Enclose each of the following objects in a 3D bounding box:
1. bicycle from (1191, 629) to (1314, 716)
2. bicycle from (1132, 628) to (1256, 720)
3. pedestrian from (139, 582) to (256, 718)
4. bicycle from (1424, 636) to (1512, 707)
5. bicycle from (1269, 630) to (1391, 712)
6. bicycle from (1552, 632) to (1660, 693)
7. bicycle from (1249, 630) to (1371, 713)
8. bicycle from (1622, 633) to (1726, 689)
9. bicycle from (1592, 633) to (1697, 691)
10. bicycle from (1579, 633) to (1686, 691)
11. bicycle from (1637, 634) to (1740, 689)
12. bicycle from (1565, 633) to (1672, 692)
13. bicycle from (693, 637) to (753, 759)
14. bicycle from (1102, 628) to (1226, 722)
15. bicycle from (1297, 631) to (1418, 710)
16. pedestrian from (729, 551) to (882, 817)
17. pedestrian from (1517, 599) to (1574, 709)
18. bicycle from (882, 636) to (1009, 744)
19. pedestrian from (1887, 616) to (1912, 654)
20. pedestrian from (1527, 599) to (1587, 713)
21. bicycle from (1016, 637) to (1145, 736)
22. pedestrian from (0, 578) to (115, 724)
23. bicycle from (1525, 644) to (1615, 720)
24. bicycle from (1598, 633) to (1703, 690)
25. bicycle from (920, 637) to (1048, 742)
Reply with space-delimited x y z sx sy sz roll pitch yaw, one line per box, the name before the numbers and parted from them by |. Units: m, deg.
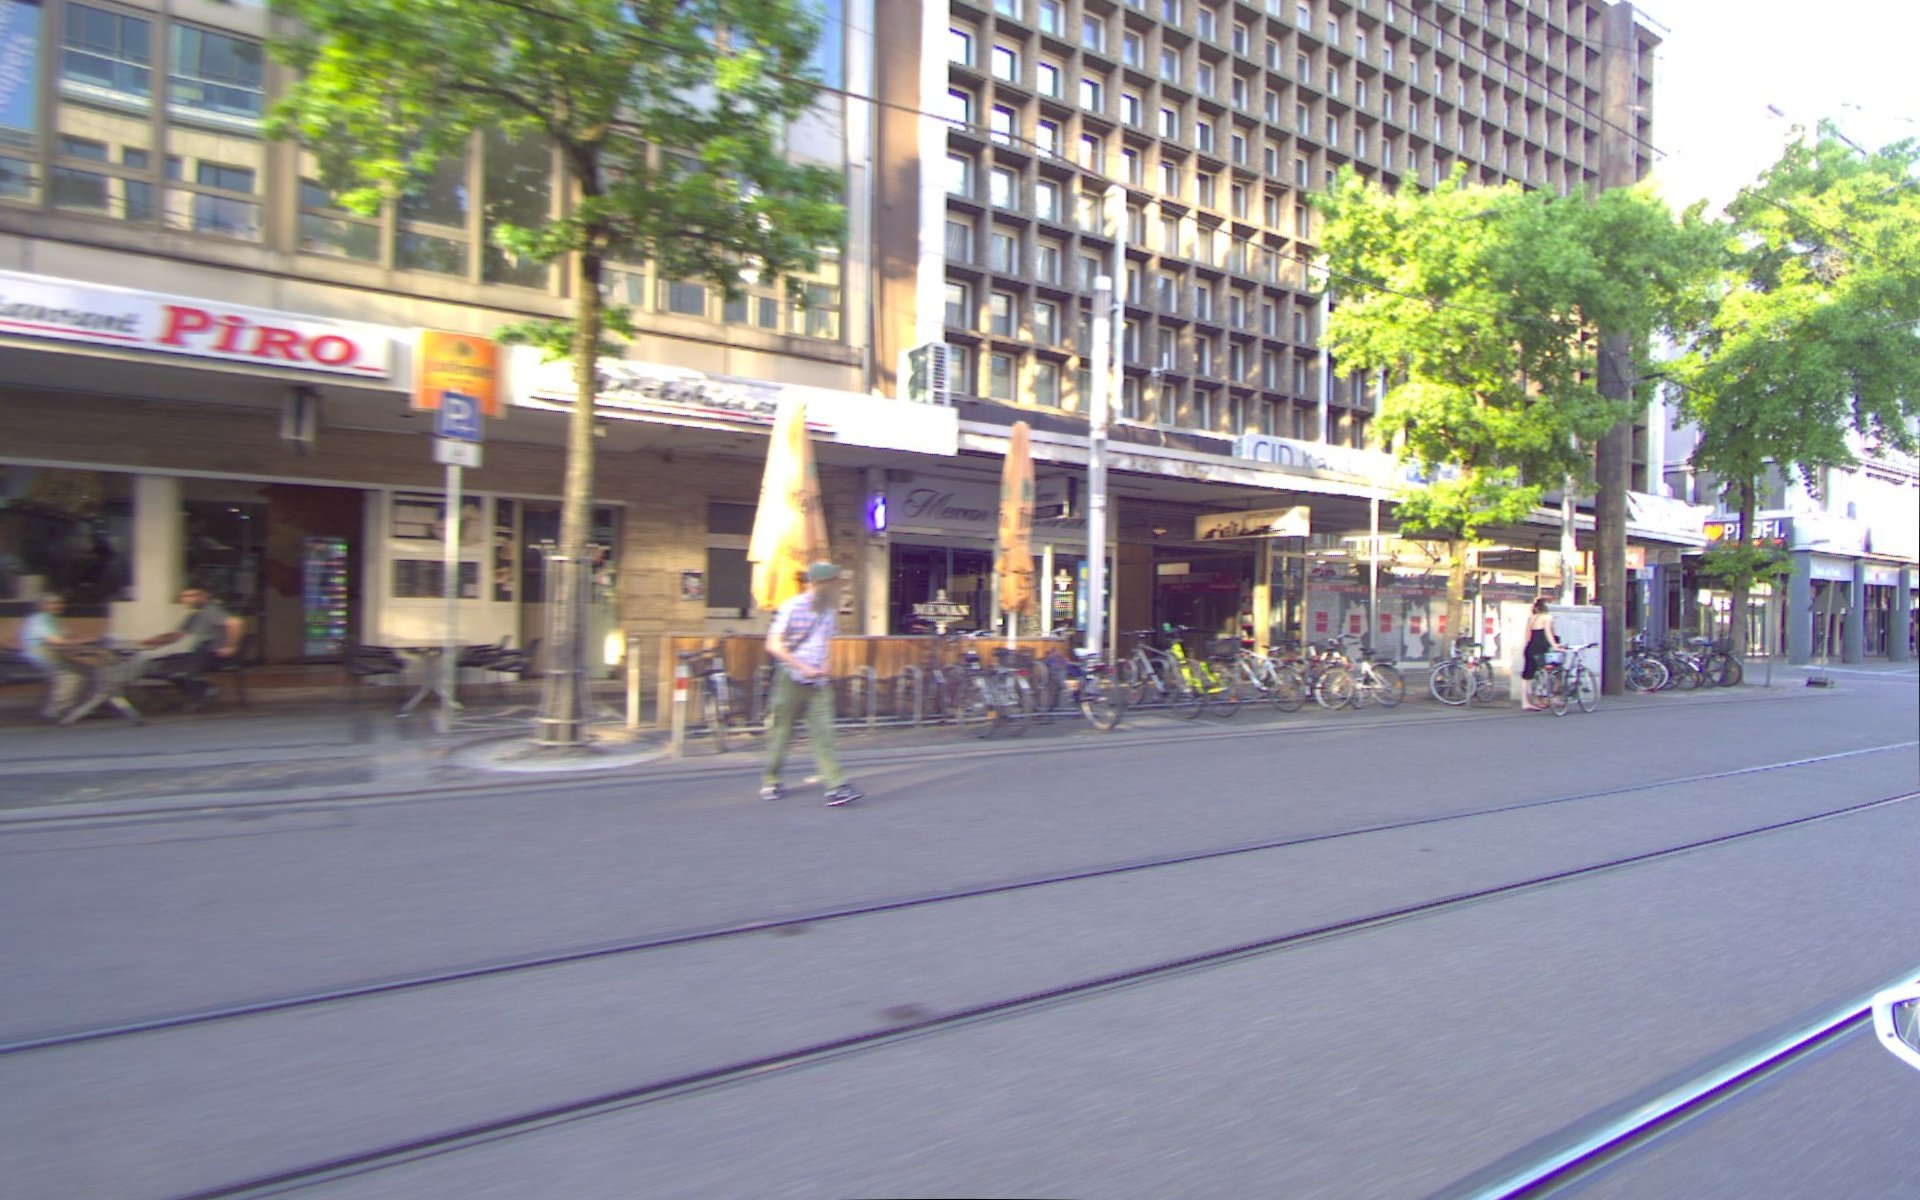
bicycle | 4.205 1.016 14.551 0.485 1.085 1.759 0 2 -36
bicycle | 3.188 0.984 13.860 0.485 1.085 1.759 0 2 -36
pedestrian | -7.984 0.510 10.556 0.902 1.343 0.666 2 2 -33
bicycle | 8.228 1.137 16.246 1.759 1.059 0.485 1 0 -35
bicycle | 5.675 1.061 15.492 0.485 1.085 1.759 0 2 -36
bicycle | 12.913 1.226 20.129 0.484 1.059 1.763 0 1 -31
bicycle | 5.245 1.047 15.161 0.485 1.085 1.759 0 2 -36
bicycle | 15.378 1.301 21.680 0.484 1.059 1.763 0 1 -31
bicycle | 14.282 1.268 21.002 0.484 1.059 1.763 0 1 -31
bicycle | 13.808 1.253 20.679 0.484 1.059 1.763 0 1 -31
bicycle | 15.883 1.316 21.951 0.484 1.059 1.763 0 1 -31
bicycle | 13.327 1.239 20.383 0.484 1.059 1.763 0 1 -31
bicycle | -2.329 0.912 9.838 0.481 0.979 1.772 2 1 -14
bicycle | 2.714 0.970 13.541 0.485 1.085 1.759 0 2 -36
bicycle | 6.227 1.078 15.825 0.485 1.085 1.759 0 2 -36
pedestrian | -1.167 0.564 7.449 0.812 1.817 0.983 1 2 -27
pedestrian | 9.396 0.856 16.142 0.525 1.722 0.603 1 1 -2
bicycle | -0.203 0.961 11.190 0.485 1.003 1.759 0 2 -36
pedestrian | 44.511 1.666 47.570 0.702 1.748 0.709 2 -1 -33
pedestrian | 9.171 0.847 15.453 0.525 1.722 0.603 1 1 -2
bicycle | 1.425 1.010 12.205 0.485 1.003 1.759 0 2 -36
pedestrian | -8.921 0.484 9.820 0.902 1.343 0.666 2 2 -33
bicycle | 9.338 1.228 15.350 1.759 1.059 0.485 1 0 -35
bicycle | 14.487 1.274 21.126 0.484 1.059 1.763 0 1 -31
bicycle | 0.237 0.974 11.473 0.485 1.003 1.759 0 2 -36
